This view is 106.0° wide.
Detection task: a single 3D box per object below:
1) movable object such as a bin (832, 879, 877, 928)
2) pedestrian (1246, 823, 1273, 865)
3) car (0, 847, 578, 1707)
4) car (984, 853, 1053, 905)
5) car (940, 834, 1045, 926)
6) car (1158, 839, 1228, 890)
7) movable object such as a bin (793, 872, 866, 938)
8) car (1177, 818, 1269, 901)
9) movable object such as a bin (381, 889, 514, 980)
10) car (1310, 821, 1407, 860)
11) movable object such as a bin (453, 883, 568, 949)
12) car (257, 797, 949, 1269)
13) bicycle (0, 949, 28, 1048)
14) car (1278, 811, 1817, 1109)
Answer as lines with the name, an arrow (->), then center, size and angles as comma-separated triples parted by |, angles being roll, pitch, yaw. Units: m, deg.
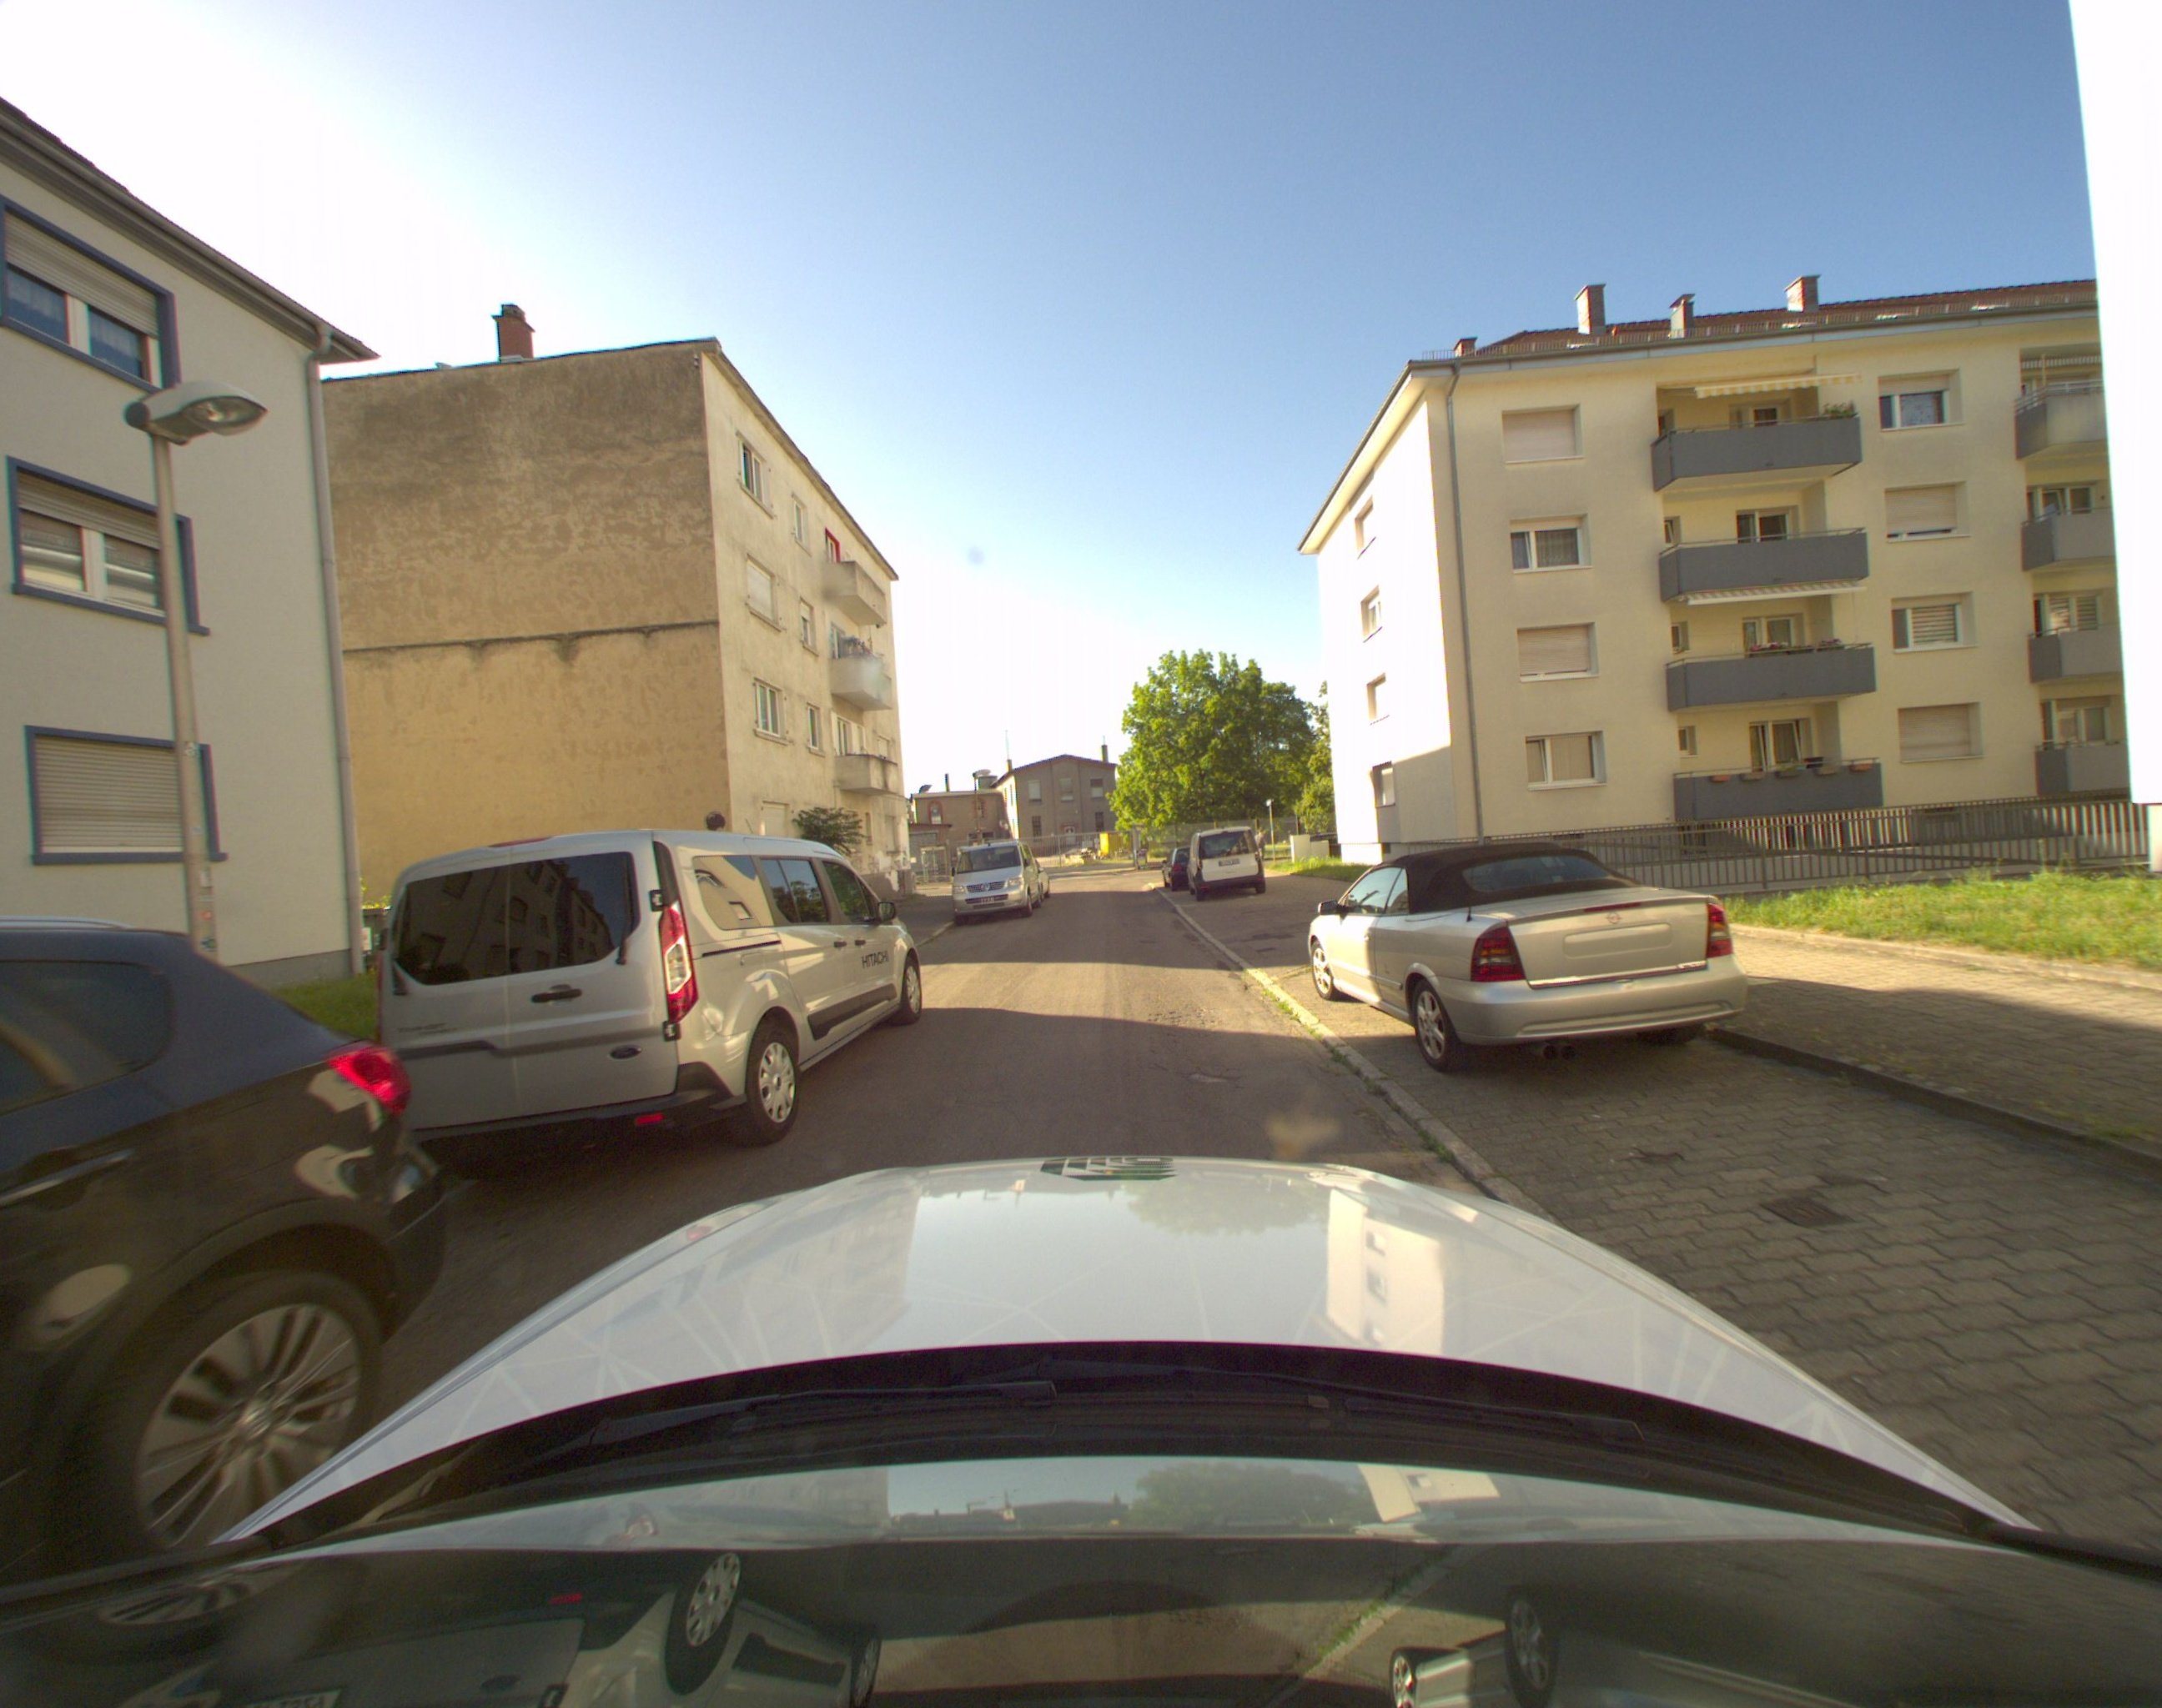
movable object such as a bin -> -5.495, 1.194, 19.793 | 0.770, 1.079, 0.816 | -4, 0, 1
pedestrian -> 7.732, -0.438, 35.217 | 0.846, 1.771, 0.639 | -5, 0, -41
car -> -2.740, 0.898, 0.752 | 1.667, 1.590, 4.166 | -8, 0, 1
car -> -2.012, 0.778, 27.271 | 1.680, 1.459, 3.724 | -6, 0, 3
car -> -2.179, 0.603, 21.490 | 1.944, 1.933, 4.858 | -6, 0, 1
car -> 3.765, 0.328, 28.041 | 1.791, 1.415, 4.050 | -7, 0, 1
movable object such as a bin -> -5.780, 1.151, 18.806 | 1.251, 1.376, 1.045 | -4, 0, 1
car -> 3.788, 0.127, 22.451 | 1.790, 1.845, 4.543 | -7, 0, 3
movable object such as a bin -> -11.396, 1.414, 14.722 | 1.125, 1.433, 1.437 | -6, -1, 2
car -> 13.360, -0.639, 39.284 | 4.059, 1.548, 1.623 | -4, 0, 0
movable object such as a bin -> -10.241, 1.096, 14.688 | 1.125, 0.999, 1.204 | -6, -1, 2
car -> -2.475, 0.769, 5.986 | 1.793, 1.829, 4.952 | -7, 0, 2
bicycle -> -11.134, 1.470, 7.341 | 0.497, 0.961, 2.076 | -1, 0, 3
car -> 3.018, 0.568, 6.507 | 1.736, 1.406, 4.314 | -6, 0, 0
